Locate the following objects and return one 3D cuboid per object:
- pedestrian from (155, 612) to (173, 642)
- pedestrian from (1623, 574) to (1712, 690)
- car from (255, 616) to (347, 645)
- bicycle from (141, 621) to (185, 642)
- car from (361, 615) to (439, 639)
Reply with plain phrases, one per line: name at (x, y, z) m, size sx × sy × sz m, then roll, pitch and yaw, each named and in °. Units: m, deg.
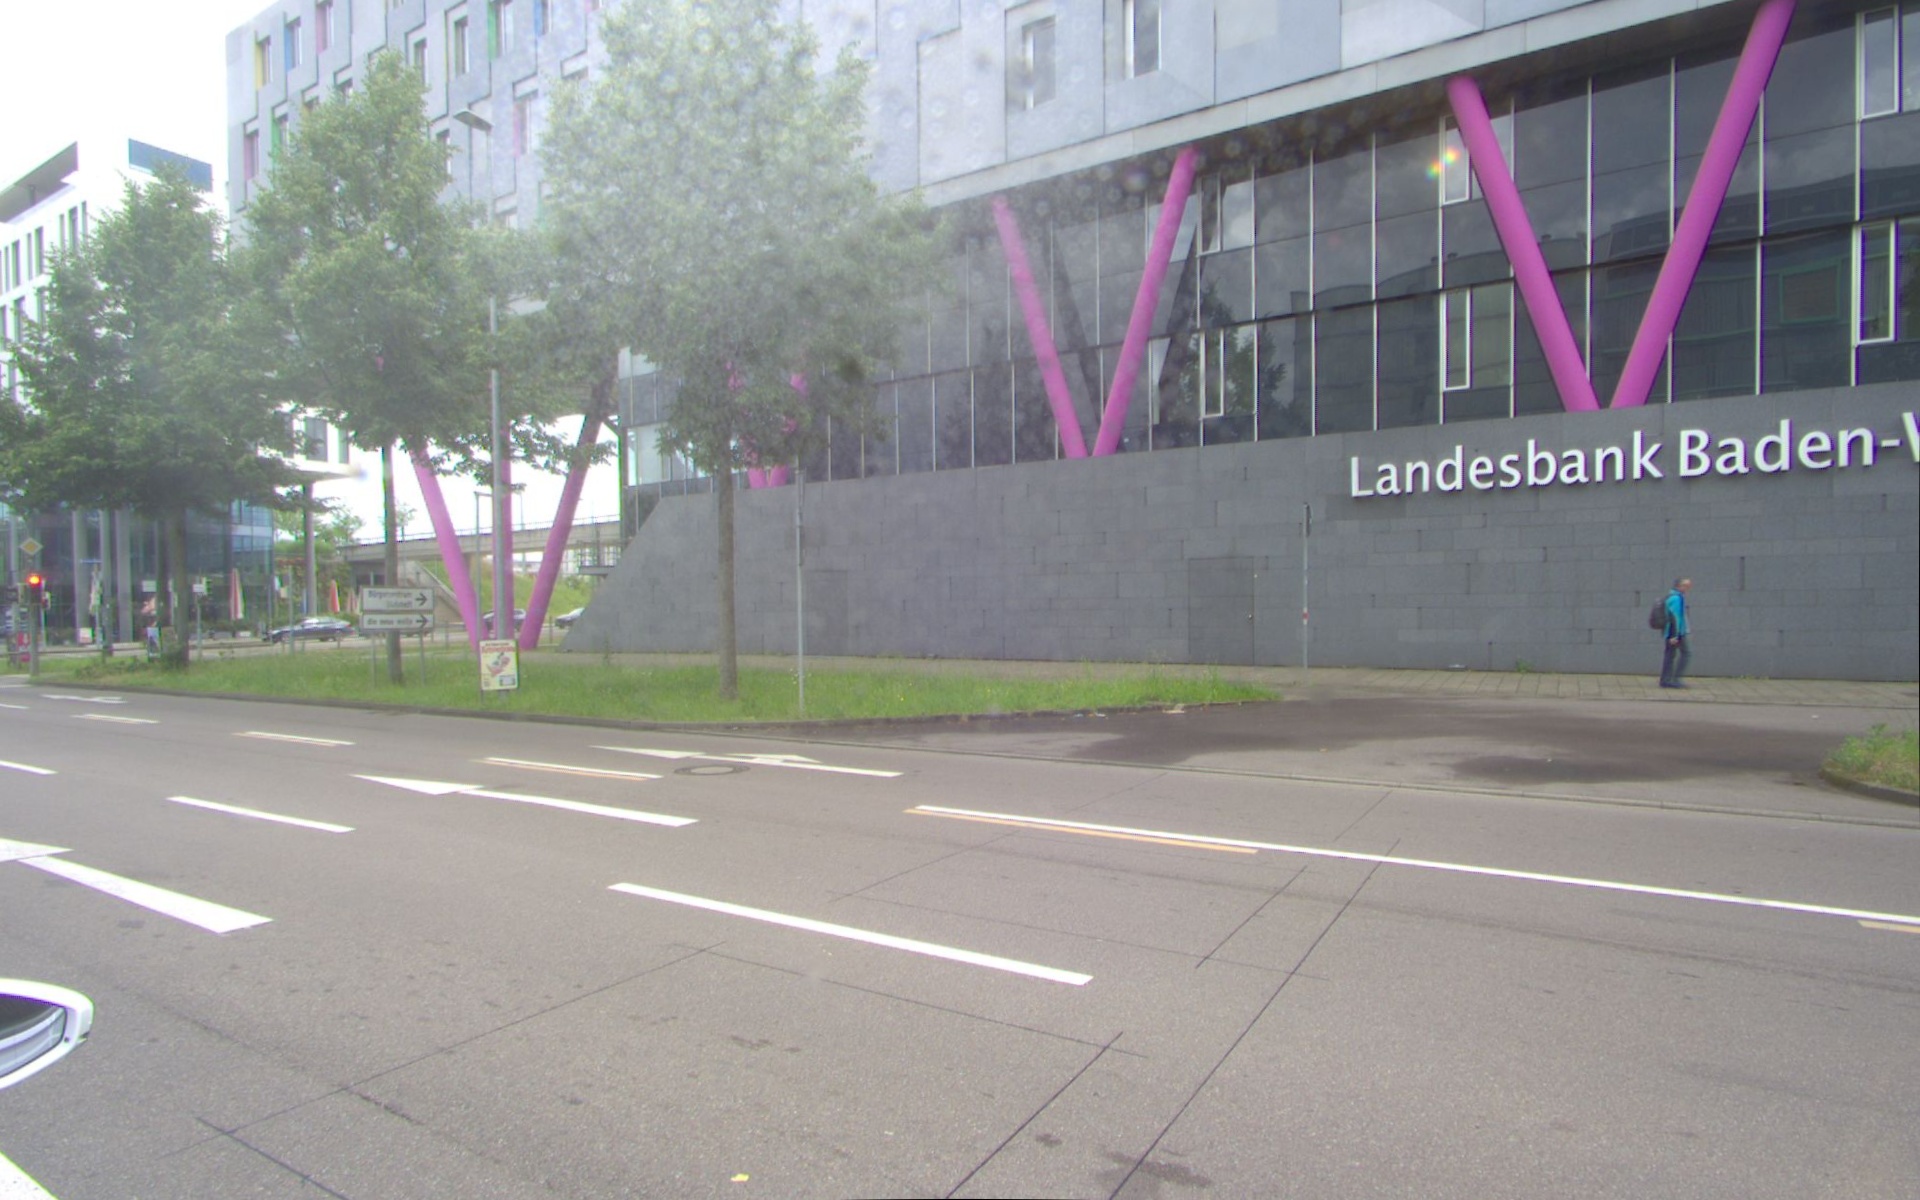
pedestrian at (-44.001, 1.478, 55.382) m, size 0.610 × 1.625 × 0.613 m, roll 0°, pitch 1°, yaw 34°
pedestrian at (11.458, 0.500, 16.265) m, size 1.121 × 1.794 × 1.049 m, roll 0°, pitch 1°, yaw 33°
car at (-39.184, 1.797, 59.663) m, size 1.734 × 1.636 × 4.240 m, roll 0°, pitch 0°, yaw 34°
bicycle at (-44.024, 1.743, 55.350) m, size 0.609 × 1.100 × 1.787 m, roll 0°, pitch 0°, yaw 34°
car at (-36.251, 1.722, 64.936) m, size 1.734 × 1.474 × 4.070 m, roll 0°, pitch 0°, yaw 34°
